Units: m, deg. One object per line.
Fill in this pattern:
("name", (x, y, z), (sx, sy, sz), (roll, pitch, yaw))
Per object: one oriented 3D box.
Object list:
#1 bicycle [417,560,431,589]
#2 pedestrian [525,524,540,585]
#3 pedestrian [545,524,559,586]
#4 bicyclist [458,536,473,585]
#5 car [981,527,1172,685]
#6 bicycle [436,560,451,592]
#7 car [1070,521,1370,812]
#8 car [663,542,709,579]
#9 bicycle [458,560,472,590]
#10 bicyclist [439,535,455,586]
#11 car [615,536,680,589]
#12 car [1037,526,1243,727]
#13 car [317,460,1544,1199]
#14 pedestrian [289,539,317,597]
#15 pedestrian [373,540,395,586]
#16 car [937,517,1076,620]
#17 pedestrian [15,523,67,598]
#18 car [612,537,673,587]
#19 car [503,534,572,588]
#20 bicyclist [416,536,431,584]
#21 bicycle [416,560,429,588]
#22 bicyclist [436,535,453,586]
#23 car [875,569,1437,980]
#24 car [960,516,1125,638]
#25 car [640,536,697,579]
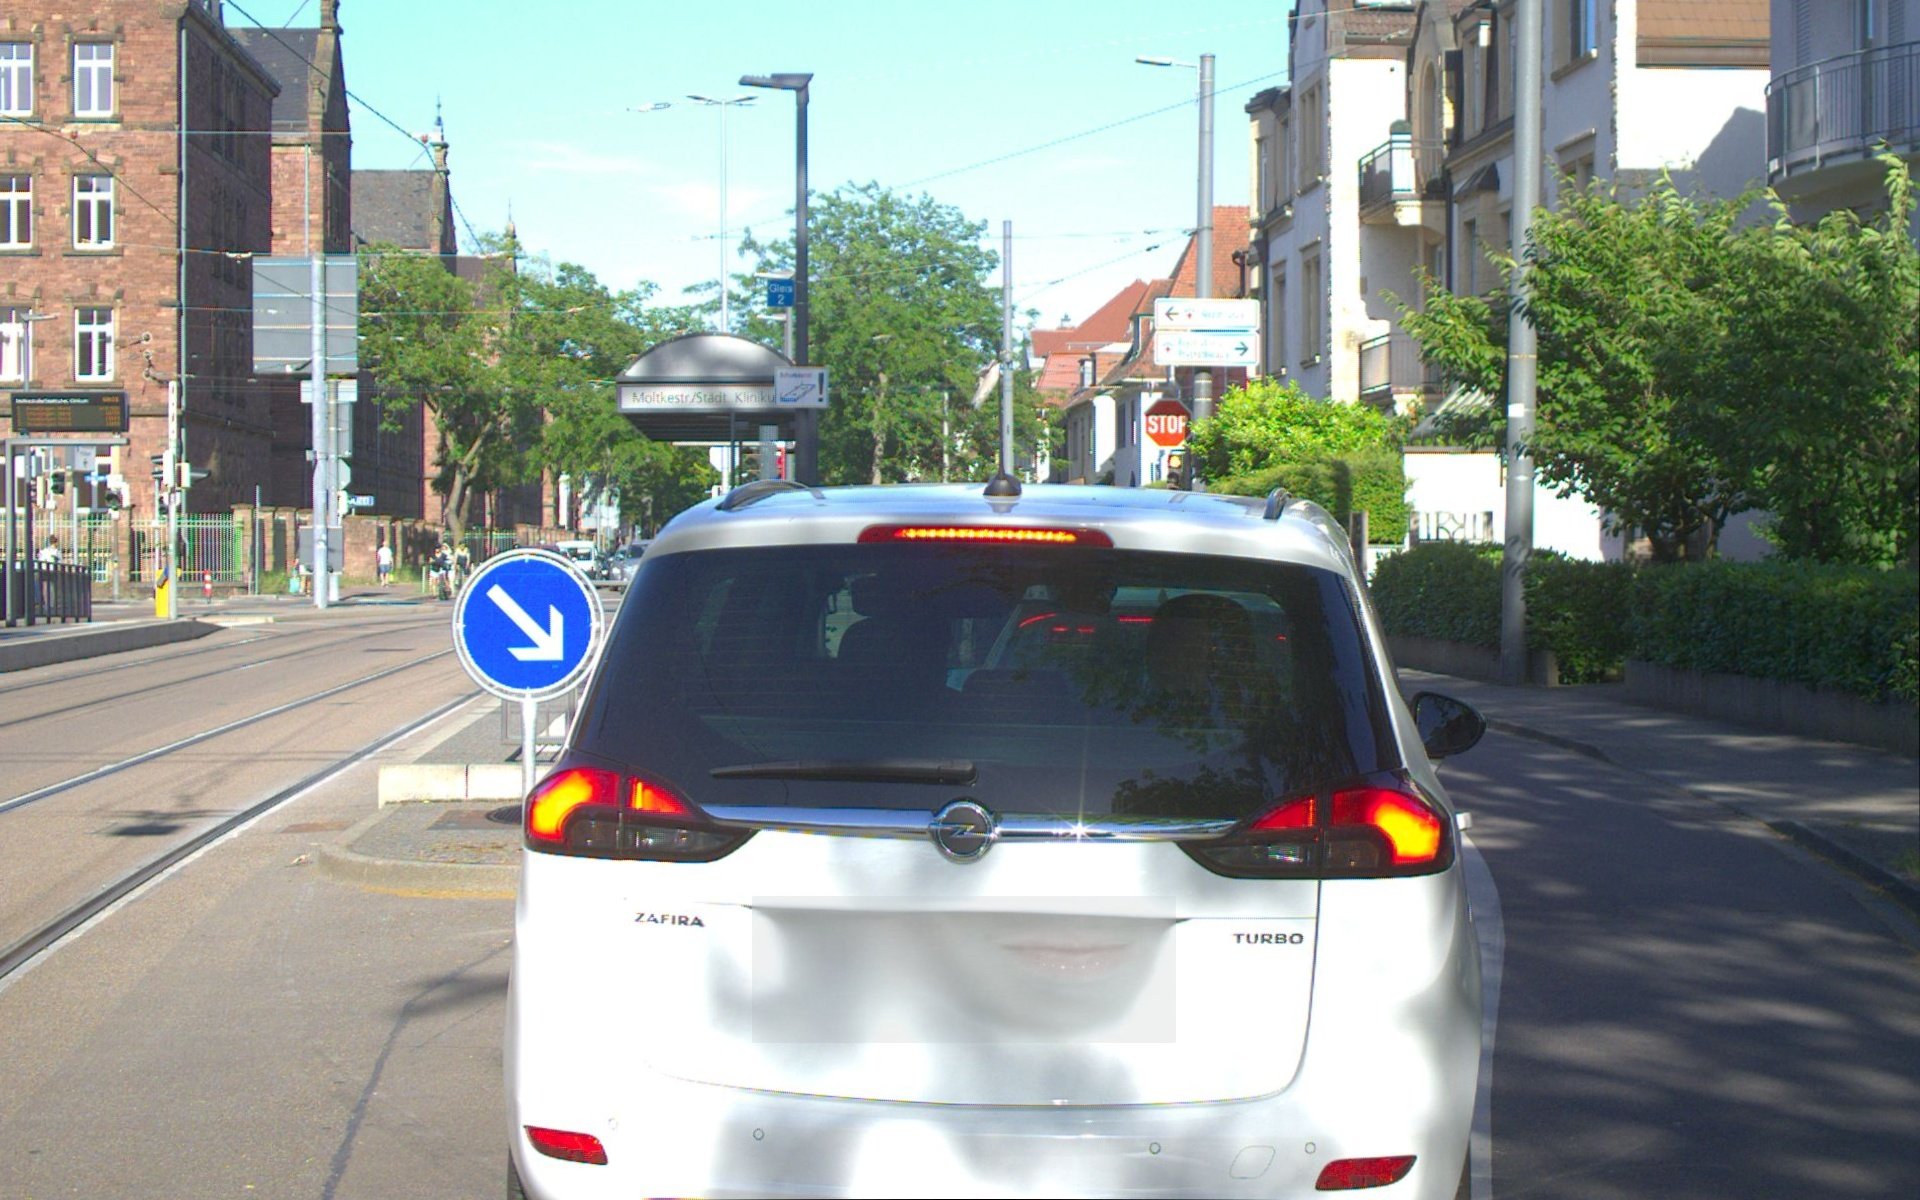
("bicycle", (-17.660, -0.852, 113.302), (0.344, 0.946, 0.997), (1, 0, -4))
("pedestrian", (-13.919, -1.481, 111.951), (0.444, 2.007, 0.496), (0, 1, -4))
("pedestrian", (-13.319, -1.476, 112.241), (0.444, 2.007, 0.496), (0, 1, -4))
("bicyclist", (-15.701, -1.248, 109.142), (0.444, 1.548, 0.496), (0, 1, -4))
("car", (1.171, 0.024, 36.173), (1.830, 1.574, 4.010), (0, 1, -1))
("bicycle", (-15.494, -0.719, 103.074), (0.344, 0.946, 1.160), (1, 0, -4))
("car", (1.489, 0.331, 20.821), (1.637, 1.595, 3.854), (0, 1, 2))
("car", (-12.237, -1.793, 153.299), (1.993, 1.623, 3.989), (0, 1, -5))
("bicycle", (-15.710, -0.783, 109.156), (0.344, 0.946, 0.997), (1, 0, -4))
("bicyclist", (-15.904, -1.225, 106.557), (0.444, 1.548, 0.496), (0, 1, -4))
("car", (-9.748, -1.193, 107.303), (1.993, 1.623, 4.001), (0, 1, -5))
("car", (1.490, 0.178, 29.249), (1.637, 1.595, 3.854), (0, 1, 2))
("car", (0.135, 0.583, 7.596), (1.994, 1.639, 3.992), (1, 1, 6))
("pedestrian", (-19.530, -0.958, 102.185), (0.734, 1.708, 0.706), (1, 0, -7))
("pedestrian", (-21.414, -1.380, 127.801), (0.734, 1.708, 0.754), (1, 0, -6))
("car", (0.660, -0.490, 51.753), (1.993, 1.497, 4.000), (0, 1, -1))
("pedestrian", (-20.735, -0.893, 77.559), (0.895, 1.678, 1.029), (1, 0, -1))
("car", (-10.546, -1.276, 114.409), (1.993, 1.623, 4.001), (0, 1, -5))
("car", (-13.128, -1.229, 107.079), (1.993, 1.623, 4.001), (0, 1, -5))
("bicyclist", (-17.677, -1.317, 113.253), (0.444, 1.548, 0.496), (0, 1, -4))
("bicycle", (-17.999, -0.875, 115.131), (0.344, 0.946, 0.997), (1, 0, -4))
("bicyclist", (-15.486, -1.187, 103.275), (0.444, 1.548, 0.743), (0, 1, -4))
("car", (0.742, 0.589, 13.976), (1.953, 1.392, 4.000), (0, 1, 2))
("car", (1.014, -0.320, 44.293), (1.993, 1.497, 4.000), (0, 1, -1))
("car", (-11.116, -1.630, 131.172), (1.993, 1.623, 4.001), (0, 1, -2))
